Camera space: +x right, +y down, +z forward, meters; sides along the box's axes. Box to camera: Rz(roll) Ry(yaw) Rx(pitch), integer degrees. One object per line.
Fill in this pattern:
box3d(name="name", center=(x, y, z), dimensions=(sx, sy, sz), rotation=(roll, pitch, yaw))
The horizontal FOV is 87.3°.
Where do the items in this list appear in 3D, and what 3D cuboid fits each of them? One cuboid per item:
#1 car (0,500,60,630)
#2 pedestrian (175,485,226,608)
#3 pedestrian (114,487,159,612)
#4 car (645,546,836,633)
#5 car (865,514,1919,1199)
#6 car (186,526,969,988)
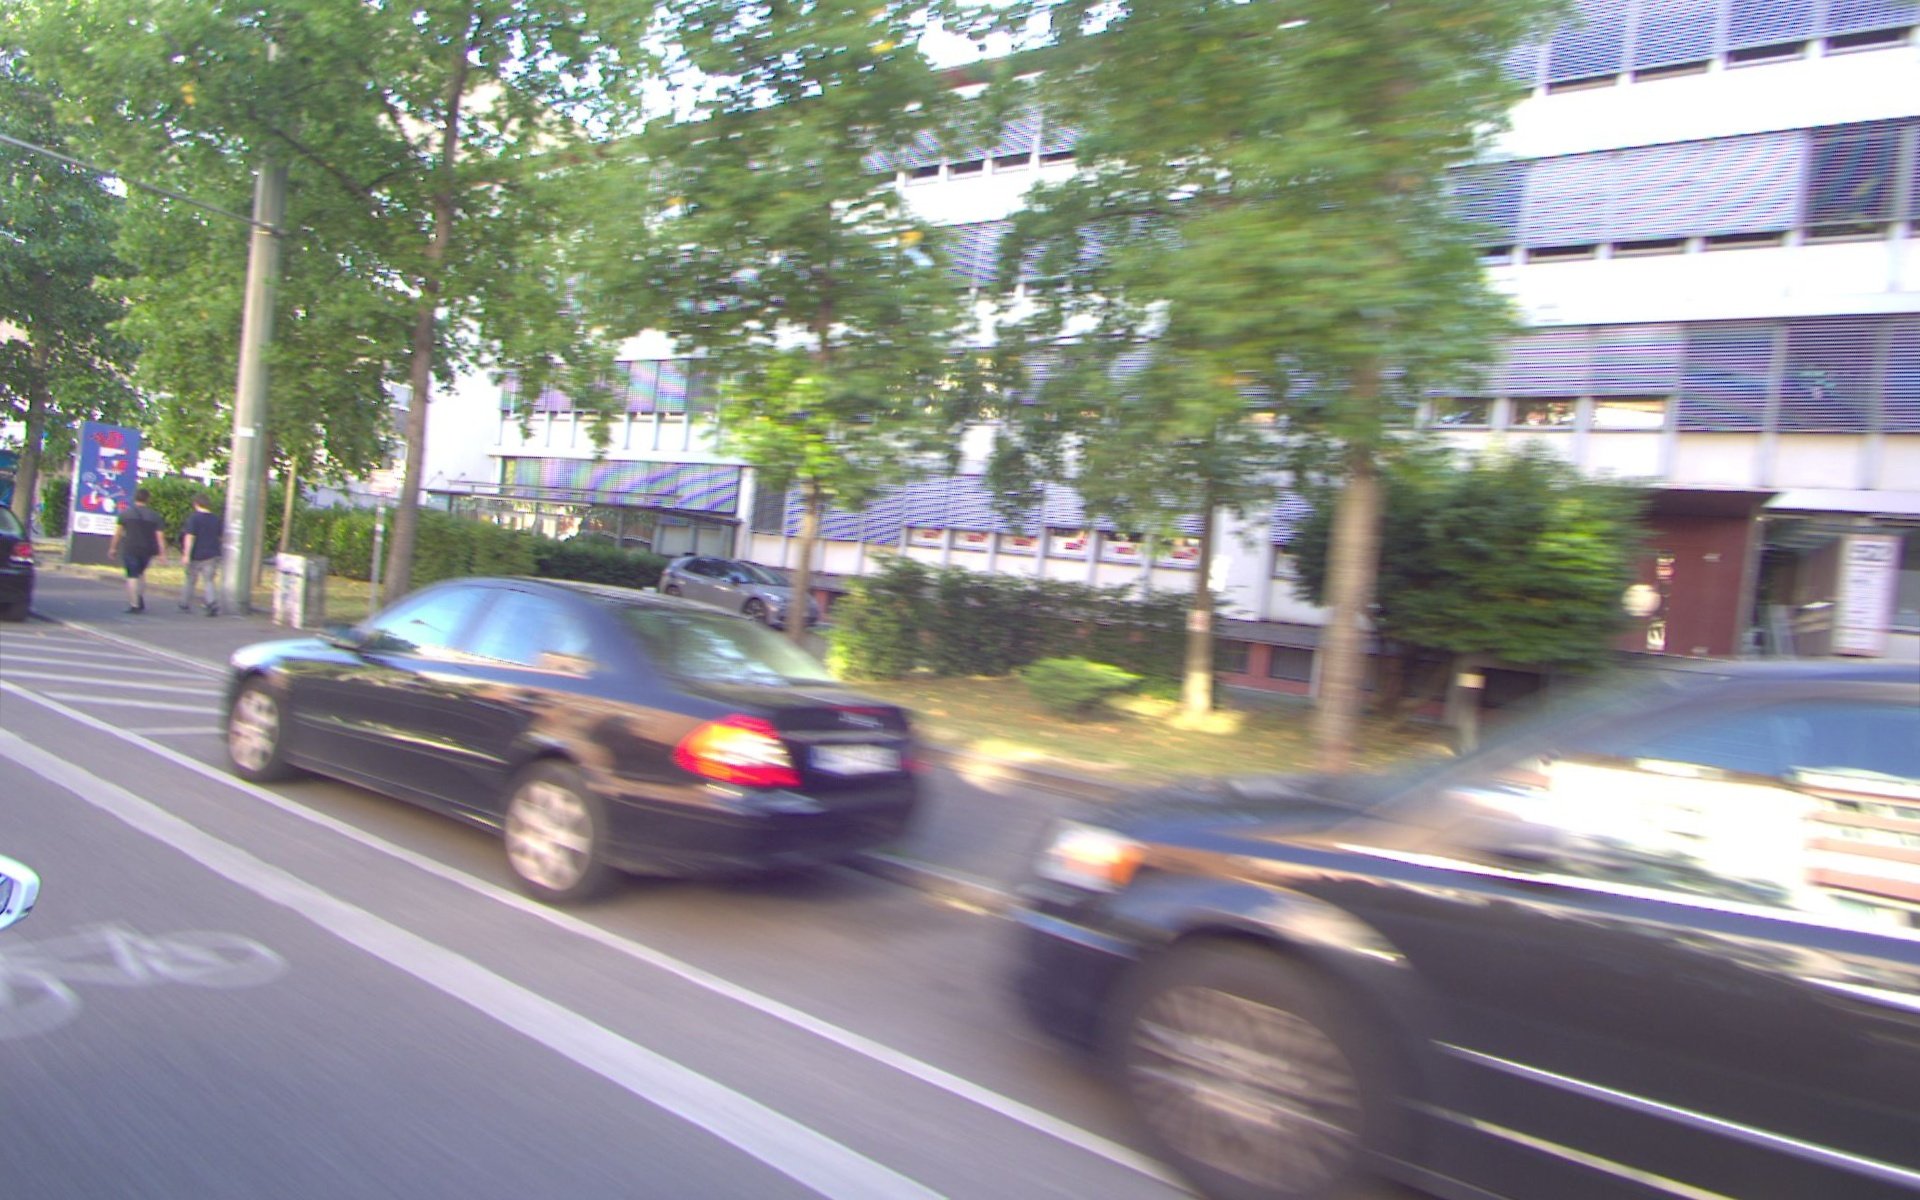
box3d(name="car", center=(-12.866, -0.626, 12.347), dimensions=(3.919, 1.449, 1.623), rotation=(7, 0, 32))
box3d(name="pedestrian", center=(-11.265, -0.788, 14.913), dimensions=(0.496, 1.733, 0.448), rotation=(4, 5, -40))
box3d(name="pedestrian", center=(-11.808, -0.724, 14.425), dimensions=(0.424, 1.733, 0.448), rotation=(3, 4, -40))
box3d(name="car", center=(-5.412, -0.267, 24.697), dimensions=(4.361, 1.514, 1.867), rotation=(8, 2, 30))
box3d(name="car", center=(2.457, 0.968, 2.842), dimensions=(5.094, 1.809, 1.953), rotation=(7, -1, 31))
box3d(name="car", center=(-2.425, 0.601, 5.895), dimensions=(4.596, 1.445, 1.719), rotation=(8, 0, 31))
